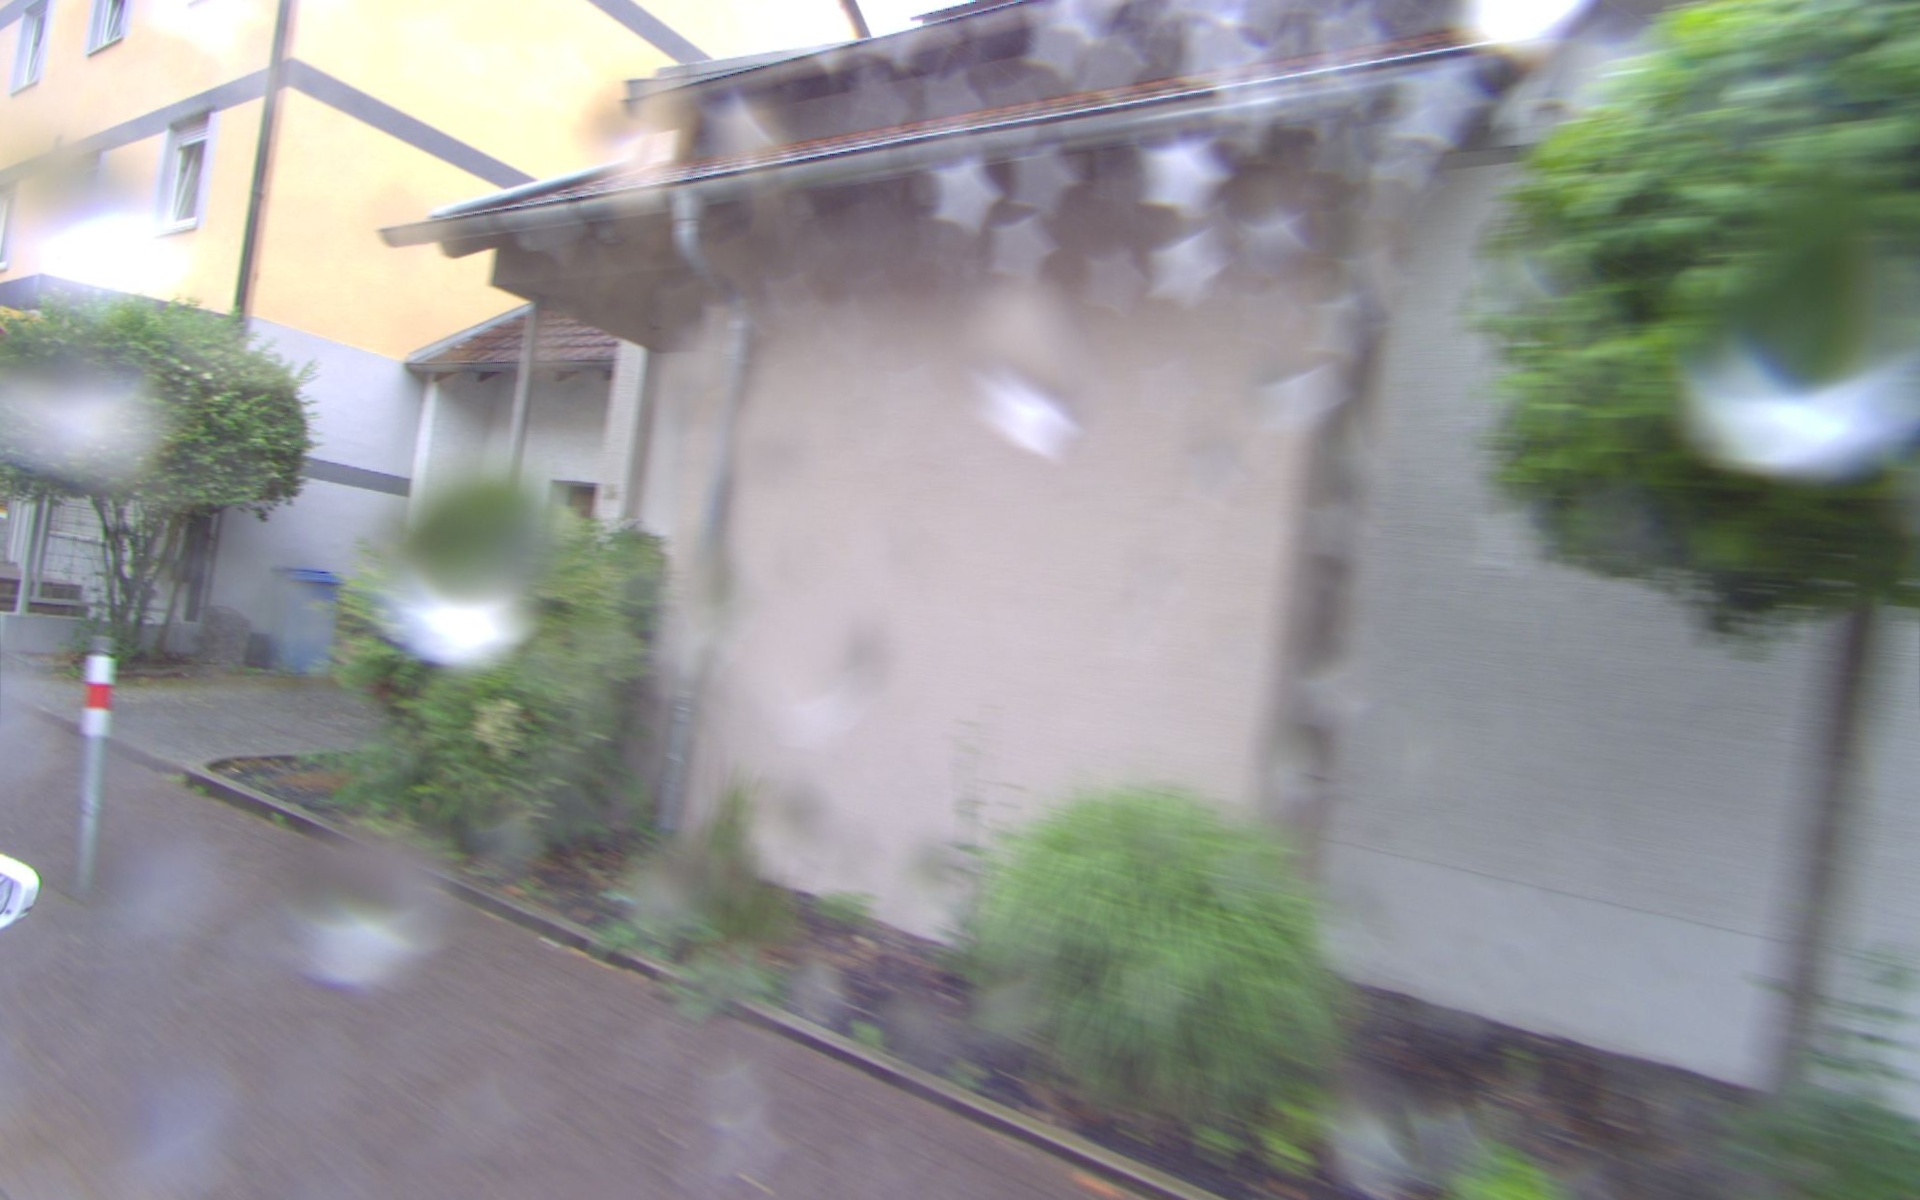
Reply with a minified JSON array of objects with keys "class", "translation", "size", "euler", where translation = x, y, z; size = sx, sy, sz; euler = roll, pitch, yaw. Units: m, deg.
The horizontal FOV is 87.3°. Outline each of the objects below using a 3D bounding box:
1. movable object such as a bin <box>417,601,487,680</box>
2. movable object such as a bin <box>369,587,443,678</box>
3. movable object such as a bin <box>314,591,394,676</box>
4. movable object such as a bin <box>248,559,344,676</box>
[{"class":"movable object such as a bin","translation":[-5.846,0.470,11.576],"size":[0.496,0.835,0.465],"euler":[7,0,36]},{"class":"movable object such as a bin","translation":[-6.171,0.365,11.206],"size":[0.525,0.932,0.446],"euler":[7,0,36]},{"class":"movable object such as a bin","translation":[-6.541,0.362,10.861],"size":[0.728,0.823,0.449],"euler":[7,2,36]},{"class":"movable object such as a bin","translation":[-6.848,0.181,10.379],"size":[0.728,1.094,0.509],"euler":[7,0,36]}]
